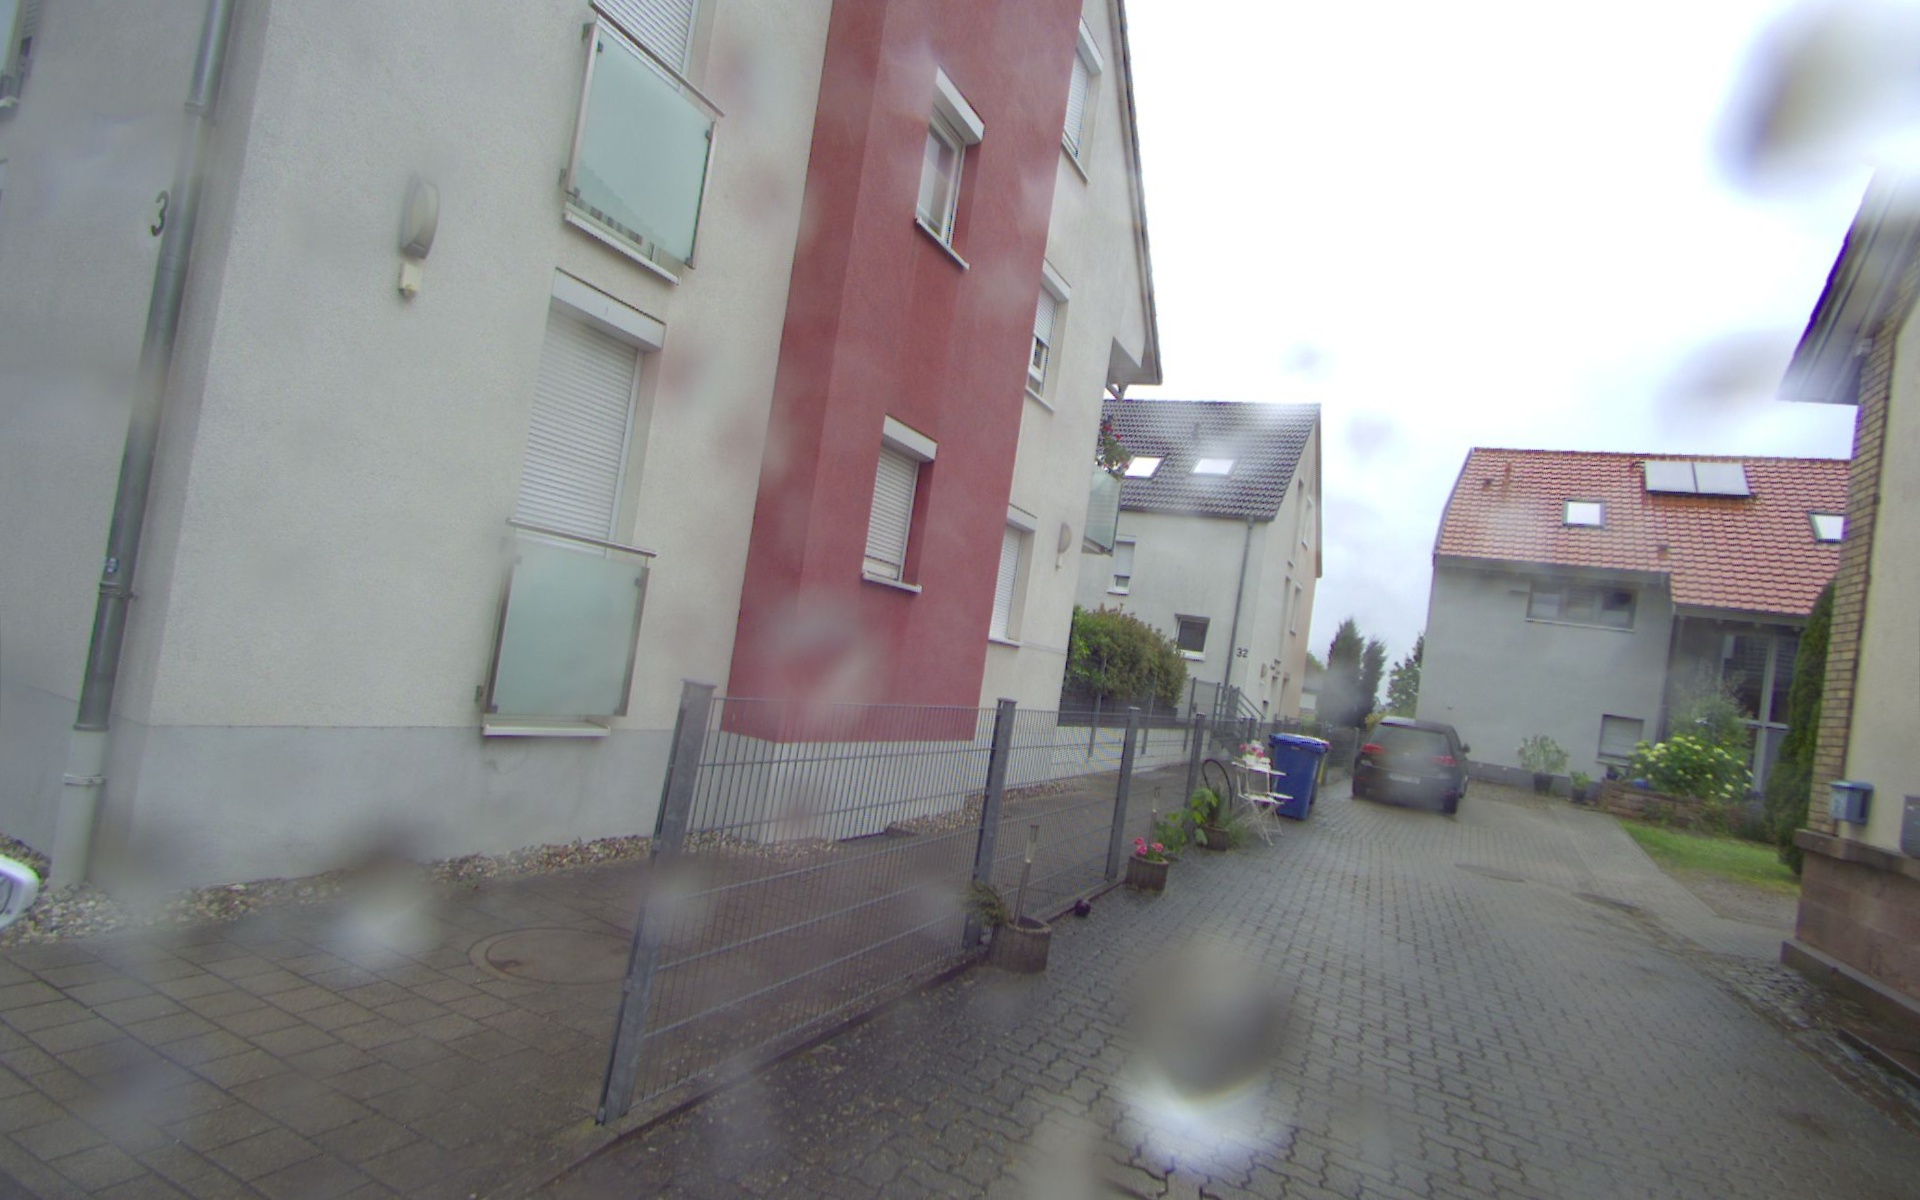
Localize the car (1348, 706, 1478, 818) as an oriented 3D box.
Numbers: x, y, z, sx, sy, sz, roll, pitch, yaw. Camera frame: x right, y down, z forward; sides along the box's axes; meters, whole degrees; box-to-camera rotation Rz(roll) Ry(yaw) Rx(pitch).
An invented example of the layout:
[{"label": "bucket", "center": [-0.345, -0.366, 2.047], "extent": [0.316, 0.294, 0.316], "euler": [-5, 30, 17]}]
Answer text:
[{"label": "car", "center": [8.407, 2.873, 18.524], "extent": [1.667, 1.481, 3.566], "euler": [8, 1, 30]}]

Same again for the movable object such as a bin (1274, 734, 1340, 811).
[{"label": "movable object such as a bin", "center": [5.447, 2.689, 15.789], "extent": [0.789, 1.049, 0.729], "euler": [7, -4, 26]}]

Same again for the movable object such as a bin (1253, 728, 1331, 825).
[{"label": "movable object such as a bin", "center": [4.491, 2.364, 13.576], "extent": [0.789, 1.146, 0.729], "euler": [7, -4, 26]}]

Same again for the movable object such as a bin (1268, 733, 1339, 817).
[{"label": "movable object such as a bin", "center": [4.984, 2.519, 14.565], "extent": [0.789, 1.049, 0.729], "euler": [7, -4, 26]}]
